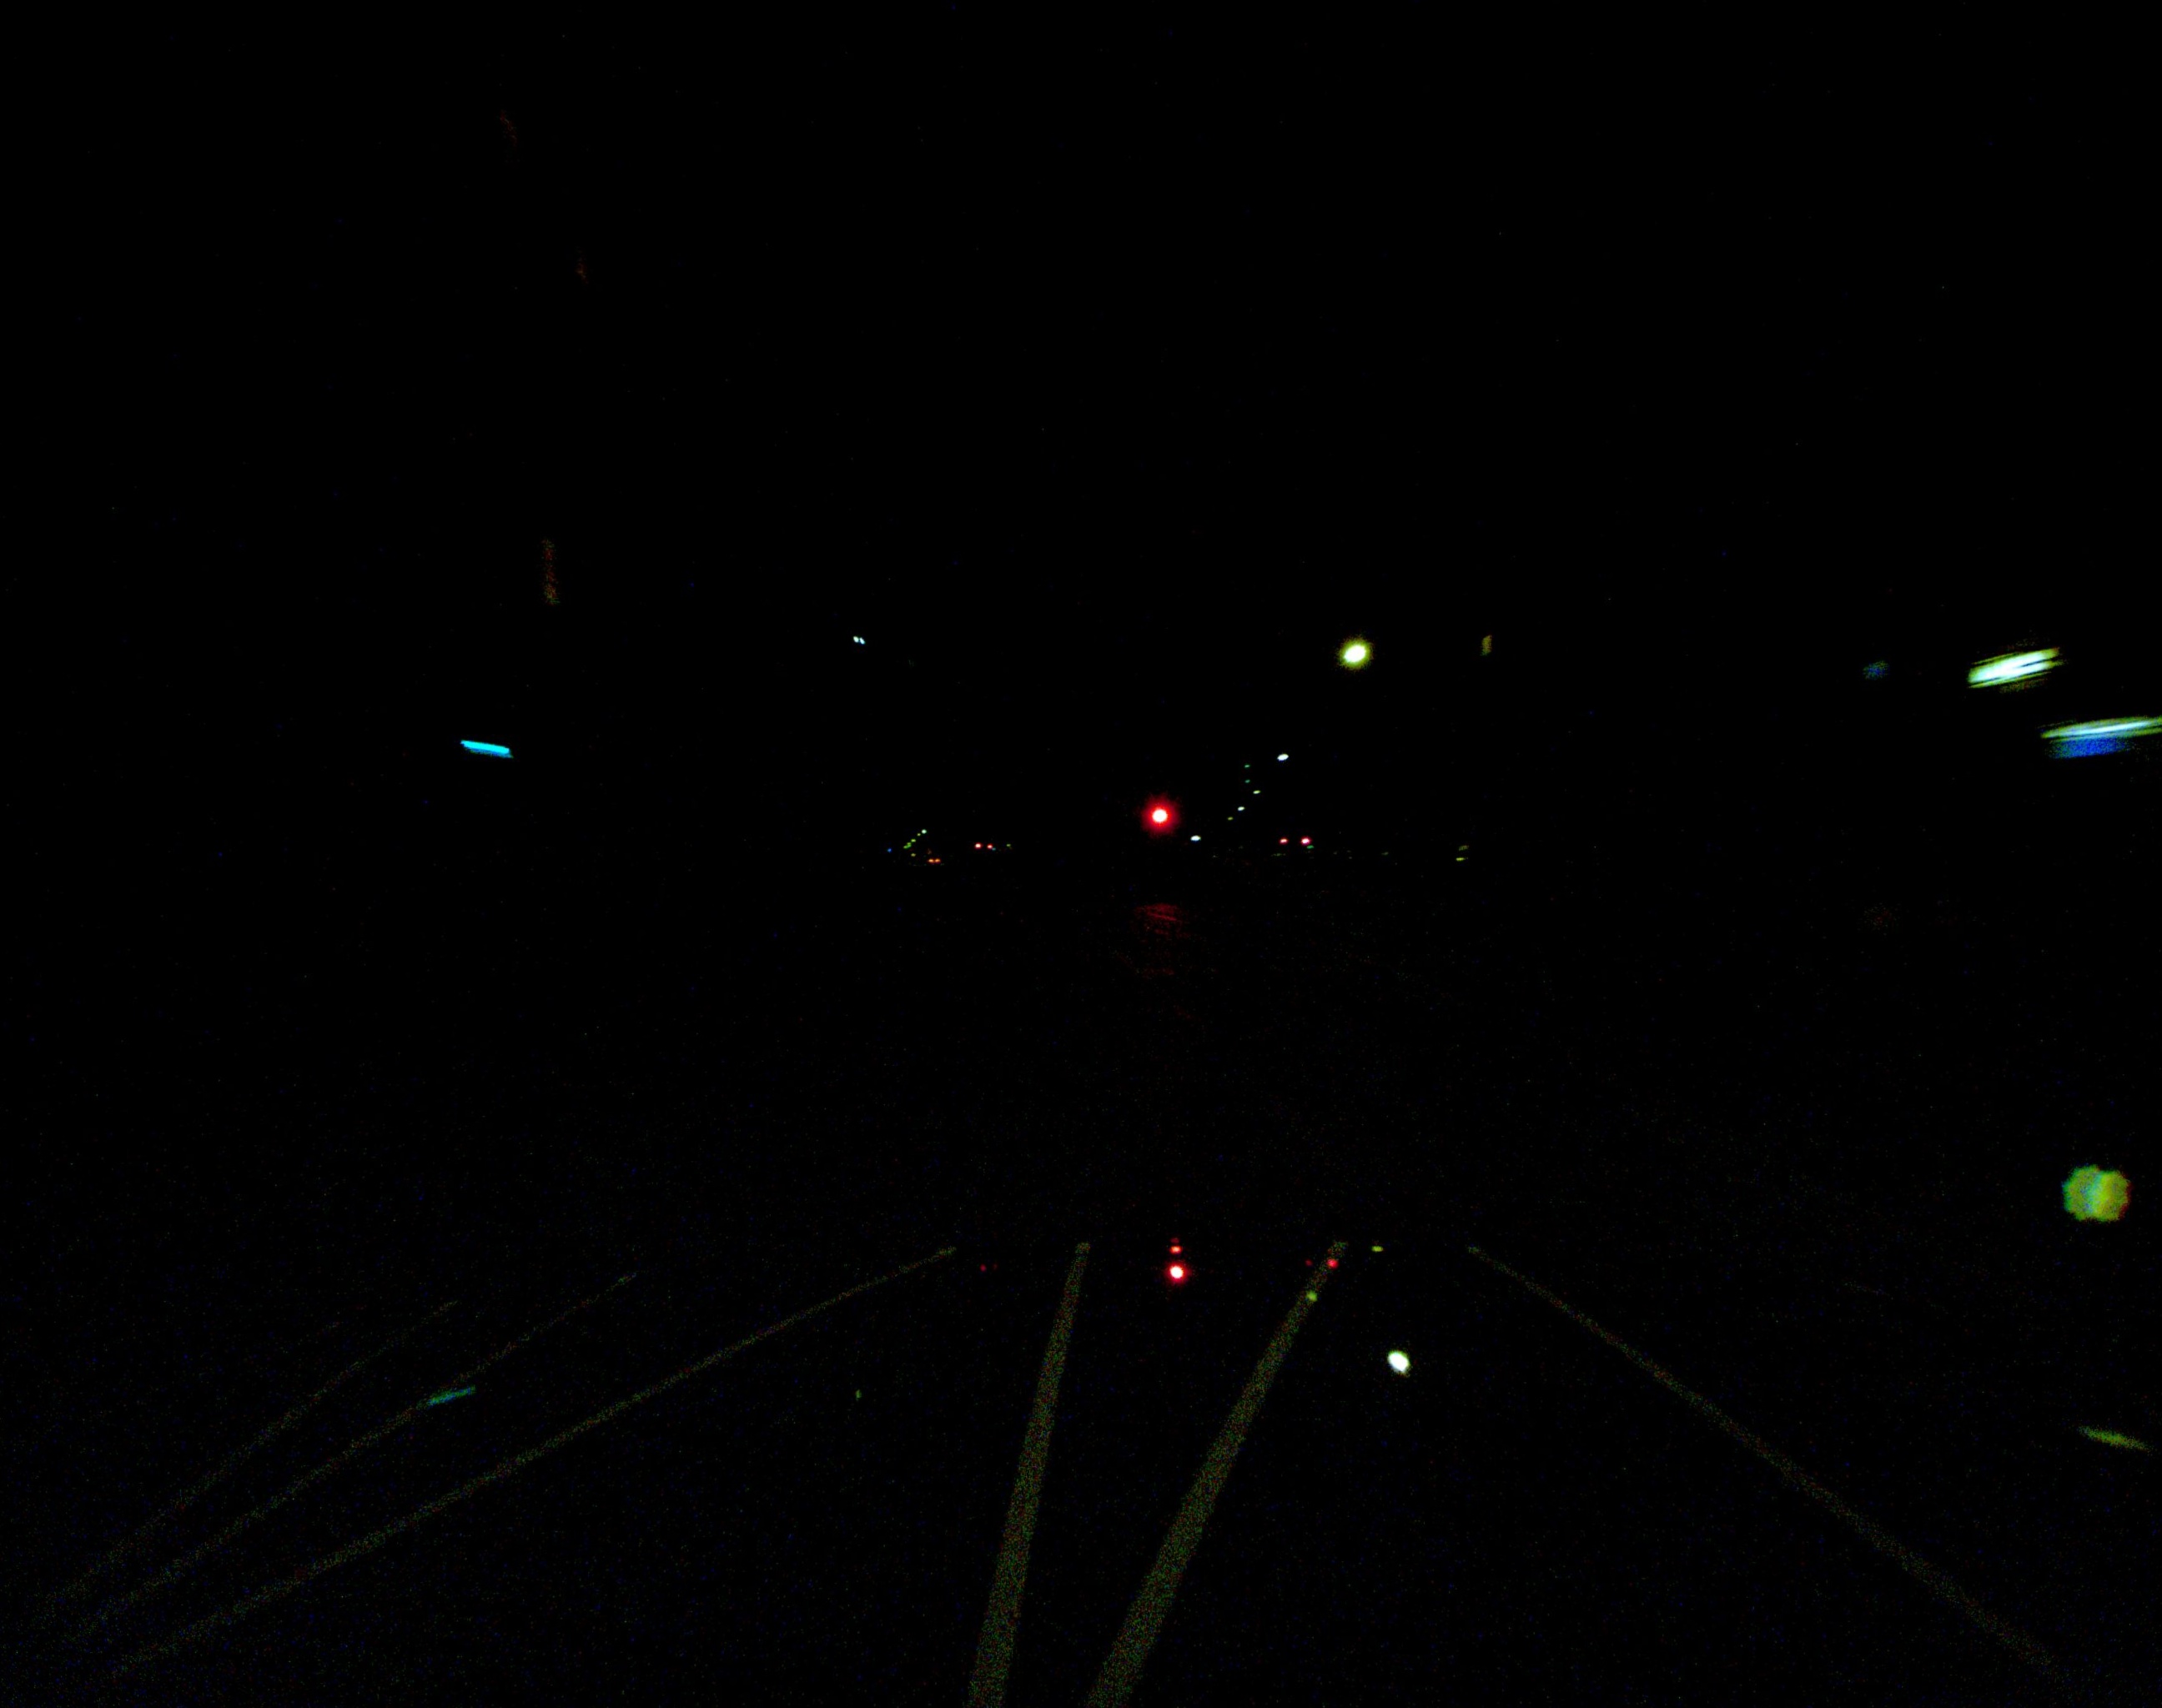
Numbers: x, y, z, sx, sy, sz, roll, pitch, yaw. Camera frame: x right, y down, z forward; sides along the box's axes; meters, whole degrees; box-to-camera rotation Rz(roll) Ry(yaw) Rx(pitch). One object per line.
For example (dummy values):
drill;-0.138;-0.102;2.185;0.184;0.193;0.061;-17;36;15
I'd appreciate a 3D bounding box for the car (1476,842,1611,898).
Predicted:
car;13.519;0.408;22.554;1.864;1.425;4.446;-3;0;10

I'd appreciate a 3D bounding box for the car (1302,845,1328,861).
car;21.501;-0.097;69.950;1.632;1.455;3.516;-1;1;6

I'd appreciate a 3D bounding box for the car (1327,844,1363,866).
car;18.691;0.050;53.927;1.641;1.425;4.353;-4;0;10

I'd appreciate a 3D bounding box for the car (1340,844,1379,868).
car;17.828;0.109;48.798;1.554;1.425;4.351;-4;0;10

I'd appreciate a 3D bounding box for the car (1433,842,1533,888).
car;14.445;0.346;27.606;1.864;1.470;4.476;-2;0;10

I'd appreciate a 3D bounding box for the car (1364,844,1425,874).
car;16.665;0.247;40.602;1.864;1.425;4.406;-2;0;7
